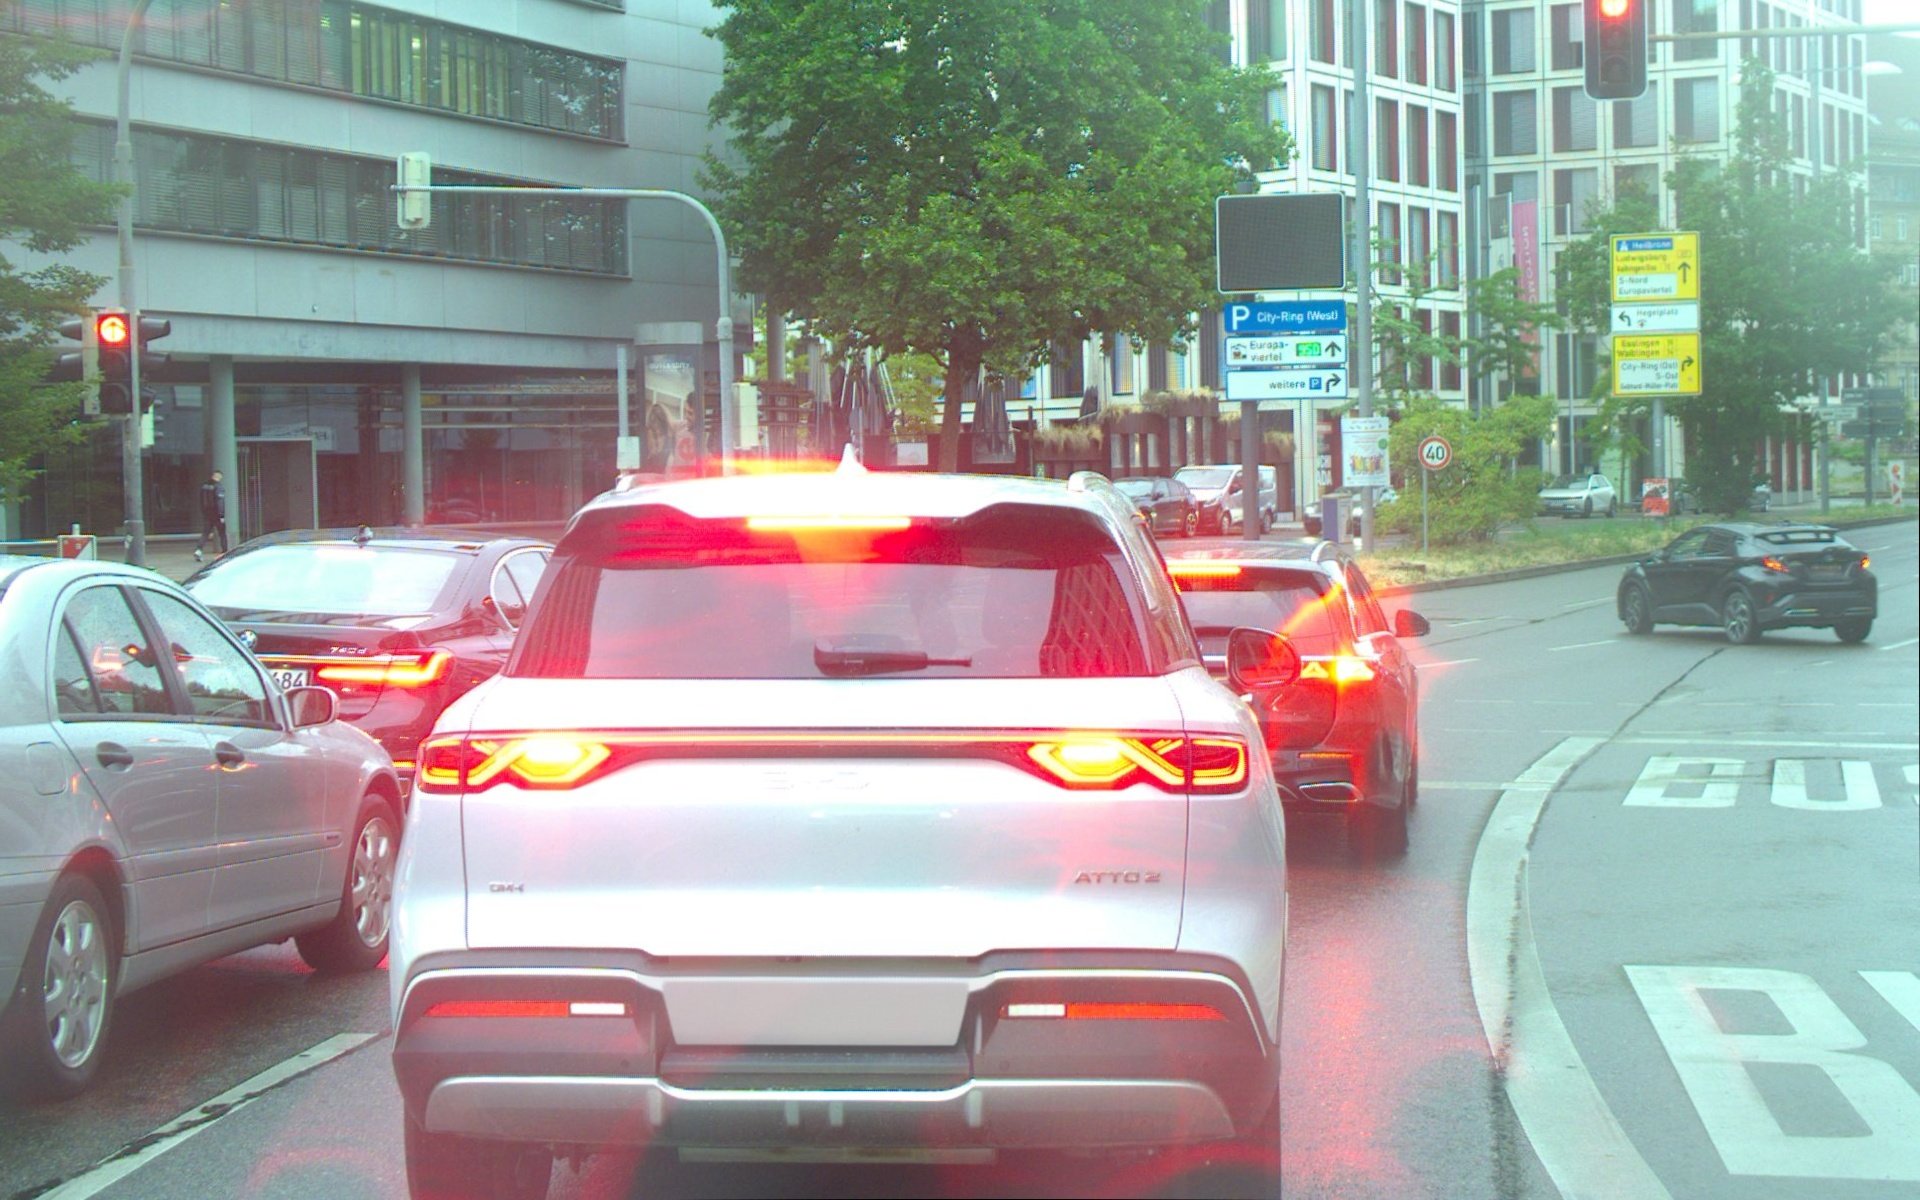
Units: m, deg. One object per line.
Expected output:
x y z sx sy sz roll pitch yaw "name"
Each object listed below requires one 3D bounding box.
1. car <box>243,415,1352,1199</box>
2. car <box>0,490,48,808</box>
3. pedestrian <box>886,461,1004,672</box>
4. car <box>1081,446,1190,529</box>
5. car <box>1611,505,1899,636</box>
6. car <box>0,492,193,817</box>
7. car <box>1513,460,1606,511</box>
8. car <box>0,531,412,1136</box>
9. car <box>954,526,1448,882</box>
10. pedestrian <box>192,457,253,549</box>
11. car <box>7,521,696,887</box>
-0.162 0.465 8.418 1.994 1.703 4.482 0 2 4 "car"
-5.914 0.289 15.539 1.784 1.568 4.286 0 2 11 "car"
-0.131 -0.284 28.647 0.921 1.732 0.730 0 1 -5 "pedestrian"
4.707 -2.972 91.531 1.739 2.154 4.490 1 1 18 "car"
10.072 -0.411 43.868 1.993 1.546 4.002 0 2 -13 "car"
-5.575 0.256 17.236 1.886 1.590 3.998 0 2 12 "car"
21.023 -4.031 120.490 1.996 1.700 4.303 1 3 27 "car"
-3.044 0.557 10.156 1.682 1.481 4.195 0 2 7 "car"
1.321 0.406 17.042 1.956 1.525 3.998 0 1 11 "car"
-13.932 -1.821 64.967 0.728 1.721 0.924 0 1 22 "pedestrian"
-2.757 0.386 16.578 1.956 1.525 3.998 0 1 11 "car"
